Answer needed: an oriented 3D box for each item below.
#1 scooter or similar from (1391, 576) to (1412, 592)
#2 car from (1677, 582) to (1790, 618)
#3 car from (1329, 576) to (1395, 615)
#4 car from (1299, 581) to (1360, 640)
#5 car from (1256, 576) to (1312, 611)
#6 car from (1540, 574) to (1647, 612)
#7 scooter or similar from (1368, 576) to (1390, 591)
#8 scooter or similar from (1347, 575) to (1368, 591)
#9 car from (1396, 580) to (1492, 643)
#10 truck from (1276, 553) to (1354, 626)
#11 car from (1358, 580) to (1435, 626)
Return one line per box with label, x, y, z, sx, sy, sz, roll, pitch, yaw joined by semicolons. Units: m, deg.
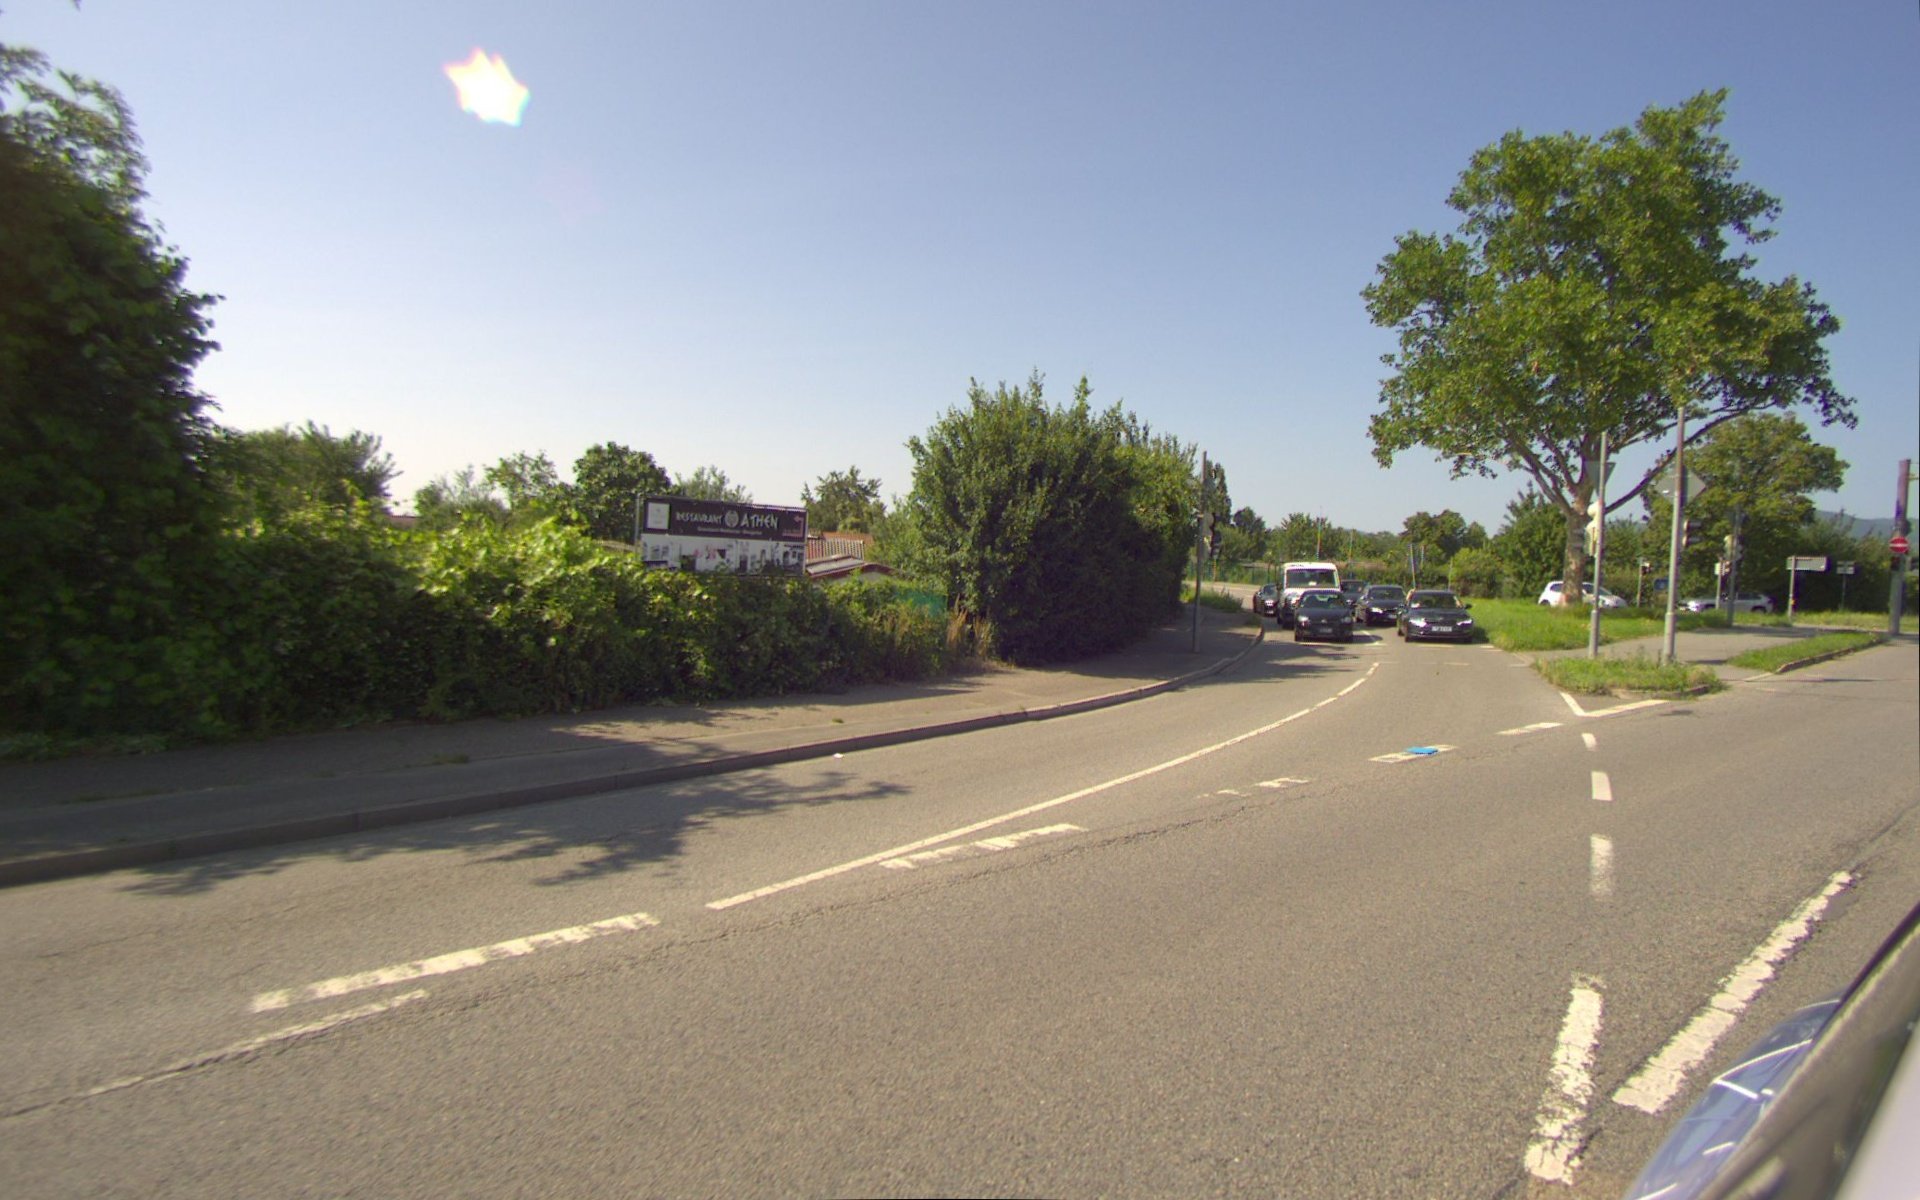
scooter or similar;32.388;-1.179;74.261;1.373;1.131;0.495;2;2;32
car;43.171;-0.003;56.557;4.600;1.700;1.907;3;3;5
car;17.700;-0.248;44.788;1.857;1.655;4.456;0;1;10
car;10.914;0.249;30.043;1.600;1.566;3.802;0;2;19
car;14.367;-0.324;45.081;1.860;1.437;3.989;0;2;10
car;27.510;-0.338;44.105;1.748;1.487;3.764;1;2;-13
scooter or similar;31.076;-1.236;75.111;1.380;1.131;0.493;3;2;44
scooter or similar;29.947;-1.298;76.228;1.380;1.131;0.493;3;2;44
car;14.158;0.268;29.862;1.975;1.566;4.589;2;2;19
truck;12.817;-0.458;36.885;2.313;2.415;6.444;0;2;16
car;16.000;0.049;37.325;1.972;1.547;4.448;0;2;15
